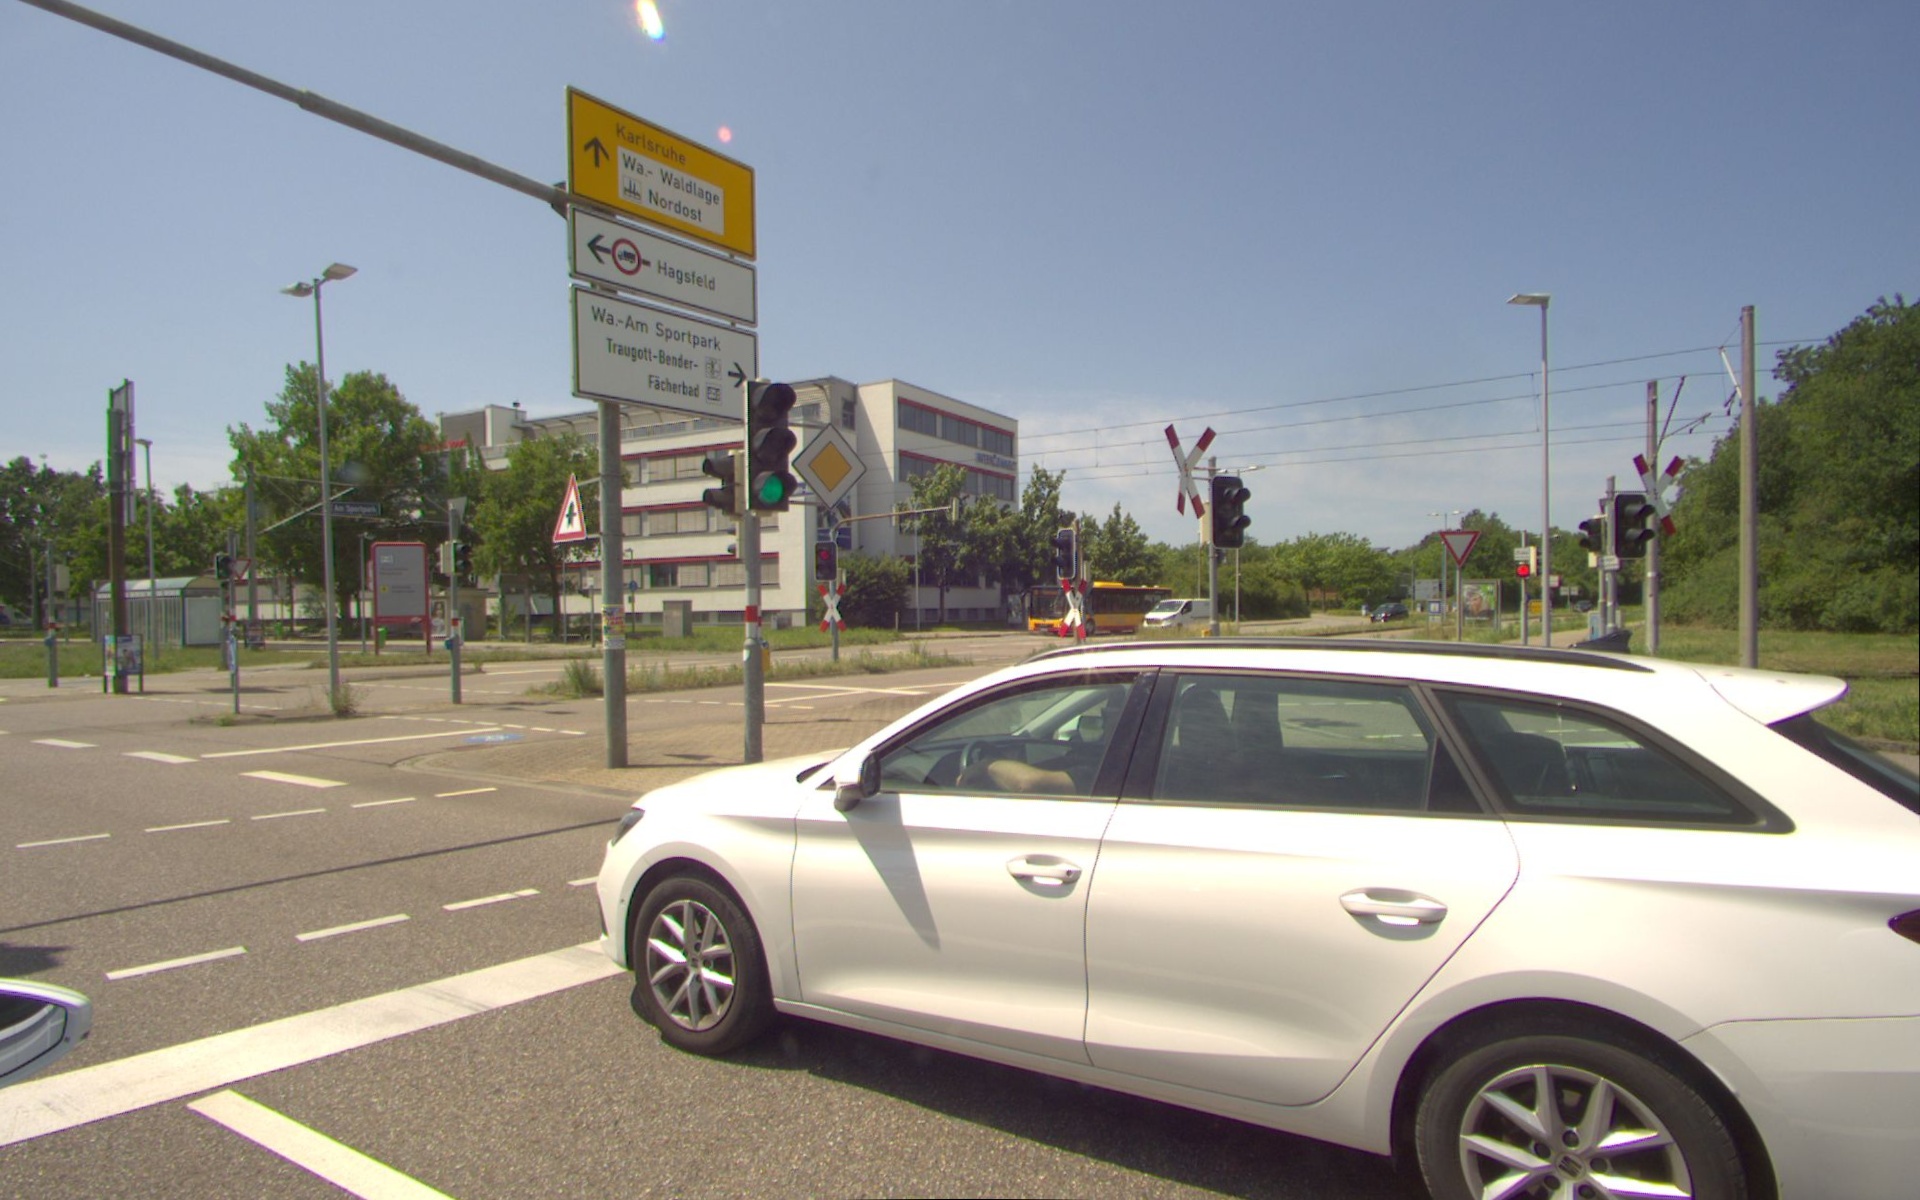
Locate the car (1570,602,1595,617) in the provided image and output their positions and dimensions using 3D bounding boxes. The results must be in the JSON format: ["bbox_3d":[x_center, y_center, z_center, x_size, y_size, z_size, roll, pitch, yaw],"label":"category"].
[{"bbox_3d":[74.641,1.117,120.082,1.978,1.813,3.967,0,-1,42],"label":"car"}]

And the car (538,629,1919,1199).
[{"bbox_3d":[0.668,0.825,3.500,4.384,1.408,1.680,-1,-1,30],"label":"car"}]

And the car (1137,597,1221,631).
[{"bbox_3d":[11.673,0.783,53.173,5.021,1.750,1.811,2,-2,-43],"label":"car"}]

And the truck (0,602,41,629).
[{"bbox_3d":[-104.753,1.689,109.393,2.283,2.881,5.837,-1,1,26],"label":"truck"}]

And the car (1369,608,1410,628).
[{"bbox_3d":[34.618,1.453,80.609,3.962,1.601,1.657,1,0,-45],"label":"car"}]

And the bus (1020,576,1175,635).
[{"bbox_3d":[8.394,0.428,59.246,2.808,3.159,11.977,-2,-2,42],"label":"bus"}]
